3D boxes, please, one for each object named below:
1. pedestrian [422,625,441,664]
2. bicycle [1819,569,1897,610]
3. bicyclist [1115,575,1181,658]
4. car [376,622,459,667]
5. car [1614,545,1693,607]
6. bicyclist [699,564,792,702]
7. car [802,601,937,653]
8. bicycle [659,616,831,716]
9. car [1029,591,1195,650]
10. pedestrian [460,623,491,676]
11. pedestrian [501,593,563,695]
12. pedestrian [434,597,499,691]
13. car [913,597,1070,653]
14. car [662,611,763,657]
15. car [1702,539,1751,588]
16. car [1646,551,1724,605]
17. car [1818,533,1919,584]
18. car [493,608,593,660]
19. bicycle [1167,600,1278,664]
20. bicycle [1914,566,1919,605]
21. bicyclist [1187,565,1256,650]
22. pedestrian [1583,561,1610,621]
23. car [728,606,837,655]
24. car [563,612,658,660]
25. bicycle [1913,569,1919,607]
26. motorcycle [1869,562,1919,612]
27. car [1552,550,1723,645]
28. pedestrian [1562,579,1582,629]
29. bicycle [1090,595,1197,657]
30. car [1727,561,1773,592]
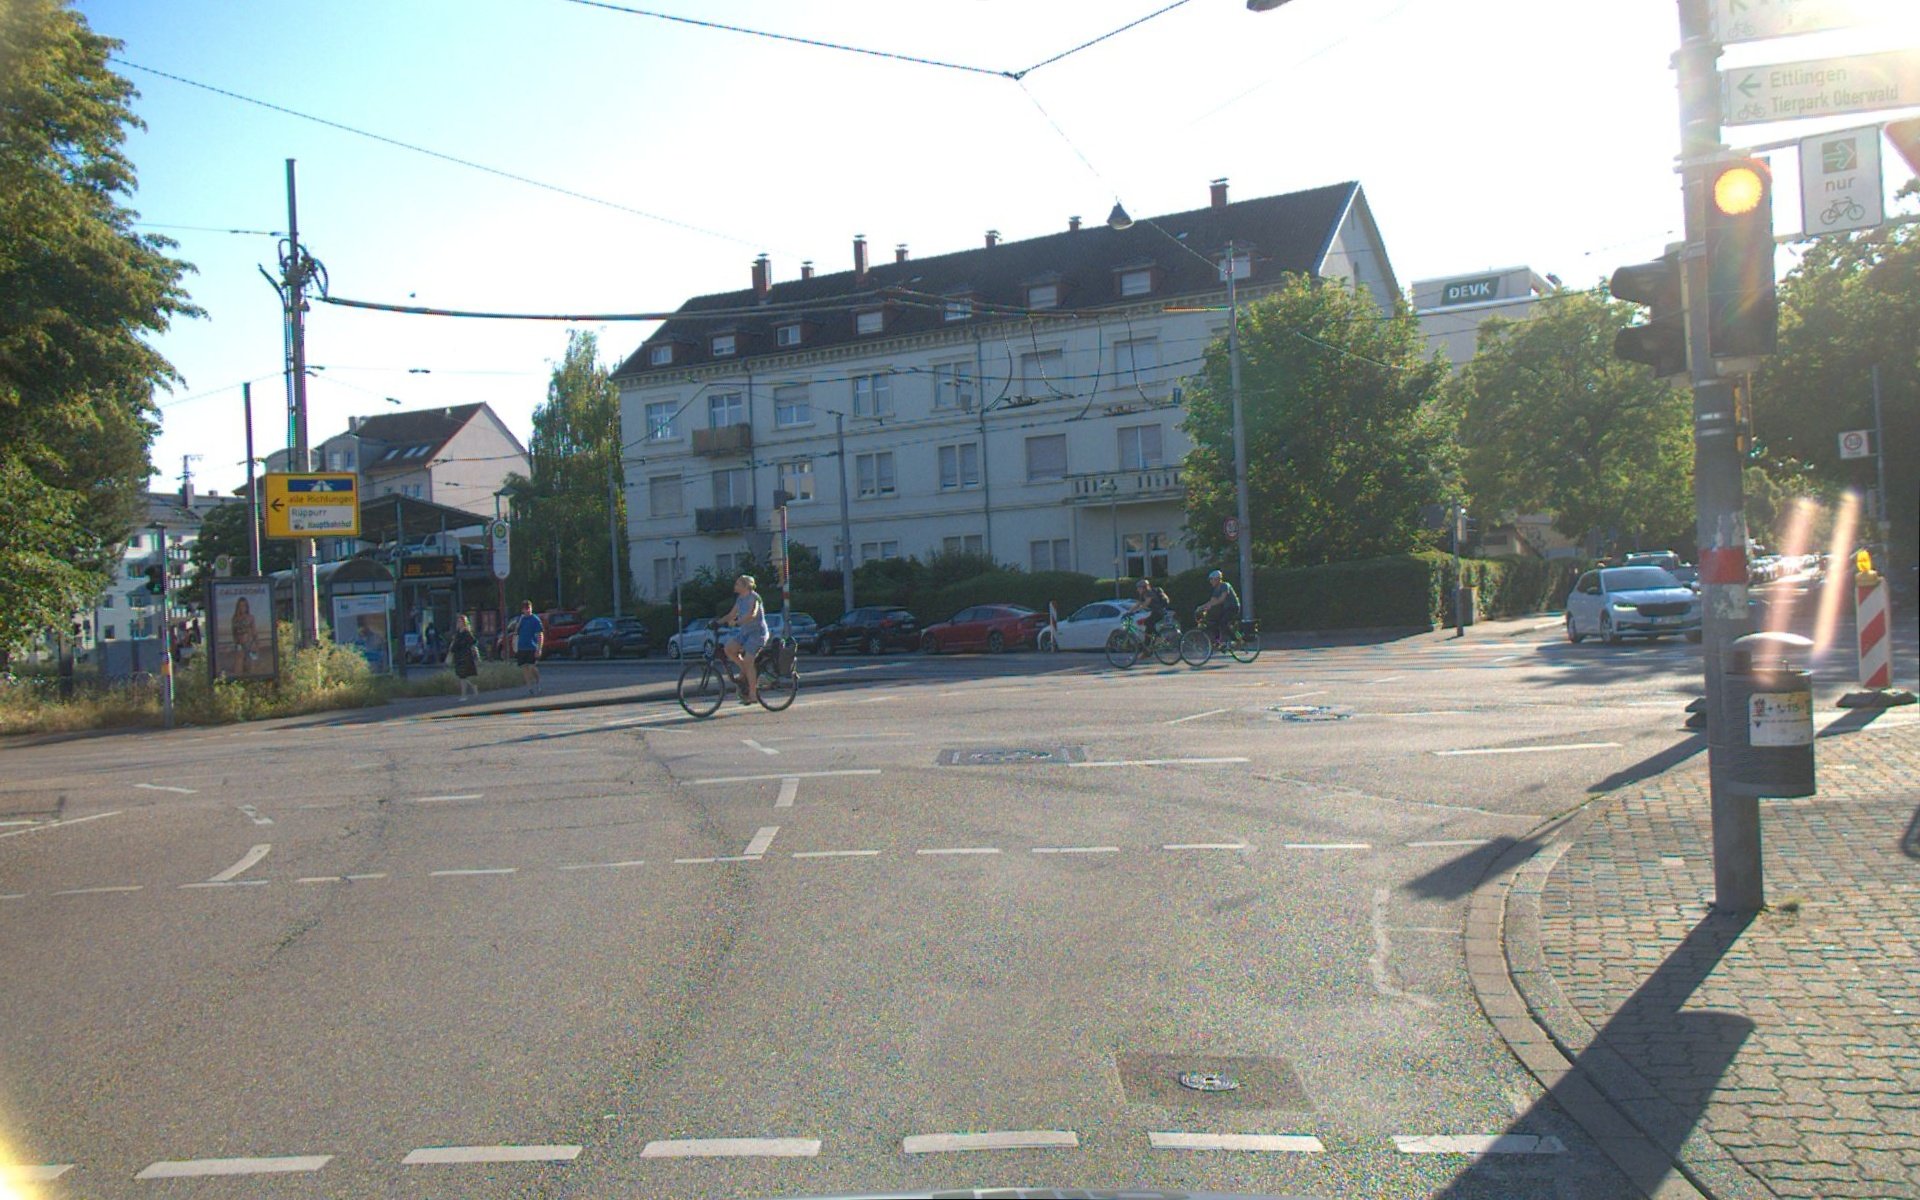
[{"bbox_3d":[-21.120,1.787,66.067,0.560,1.527,0.672,-3,0,-29],"label":"pedestrian"},{"bbox_3d":[22.772,-0.262,41.982,1.690,0.949,0.671,-3,0,29],"label":"bicycle"},{"bbox_3d":[3.666,0.313,32.307,1.021,1.558,0.656,-3,0,-24],"label":"bicyclist"},{"bbox_3d":[-27.193,2.228,82.785,2.039,1.995,5.073,-6,2,-41],"label":"car"},{"bbox_3d":[25.345,-0.871,60.336,2.308,2.049,5.306,-3,0,26],"label":"car"},{"bbox_3d":[-2.666,0.403,20.550,0.847,1.633,0.768,-3,0,-33],"label":"bicyclist"},{"bbox_3d":[-3.033,0.910,54.571,1.970,1.472,4.634,-6,2,-41],"label":"car"},{"bbox_3d":[-2.650,0.796,20.471,1.994,1.087,0.656,-3,0,-33],"label":"bicycle"},{"bbox_3d":[4.197,0.590,46.181,1.916,1.400,4.426,-6,2,-43],"label":"car"},{"bbox_3d":[-19.108,1.936,65.181,0.914,2.048,0.759,-2,0,-37],"label":"pedestrian"},{"bbox_3d":[-8.513,0.868,32.951,0.893,1.958,1.067,-3,0,-2],"label":"pedestrian"},{"bbox_3d":[-9.665,0.847,32.427,0.893,1.777,1.067,-3,0,-2],"label":"pedestrian"},{"bbox_3d":[0.912,0.767,50.124,4.625,1.400,1.974,-3,2,44],"label":"car"},{"bbox_3d":[-9.177,1.271,61.213,1.830,1.472,3.899,-6,2,-41],"label":"car"},{"bbox_3d":[43.109,-2.037,92.946,2.308,2.558,5.306,-3,0,26],"label":"car"},{"bbox_3d":[22.907,-0.718,52.174,1.858,1.591,4.386,-1,1,29],"label":"car"},{"bbox_3d":[40.814,-1.830,73.121,4.990,1.958,2.360,-3,-2,26],"label":"car"},{"bbox_3d":[-18.165,1.517,71.949,2.039,1.995,5.073,-6,2,-41],"label":"car"},{"bbox_3d":[4.963,0.603,31.243,1.983,1.087,0.659,-3,0,-21],"label":"bicycle"},{"bbox_3d":[24.371,-0.399,40.504,1.691,0.949,0.561,-3,0,29],"label":"bicycle"},{"bbox_3d":[4.954,0.142,31.302,1.019,1.558,0.694,-3,0,-21],"label":"bicyclist"},{"bbox_3d":[20.026,-0.285,52.063,0.648,1.871,0.682,-3,0,28],"label":"pedestrian"},{"bbox_3d":[-6.213,1.083,57.767,1.971,1.472,3.663,-6,2,-41],"label":"car"},{"bbox_3d":[-14.194,1.475,66.970,1.830,1.696,4.304,-6,2,-41],"label":"car"},{"bbox_3d":[24.731,-0.344,41.183,1.691,0.949,0.561,-3,0,29],"label":"bicycle"},{"bbox_3d":[22.933,-0.329,39.593,1.912,1.128,0.837,-3,0,24],"label":"motorcycle"},{"bbox_3d":[12.766,-0.053,31.441,1.851,1.511,4.003,-5,0,6],"label":"car"},{"bbox_3d":[21.973,0.138,59.359,0.567,1.761,0.608,-3,0,23],"label":"pedestrian"},{"bbox_3d":[3.584,0.493,32.206,1.987,1.087,0.658,-3,0,-25],"label":"bicycle"},{"bbox_3d":[51.019,-1.539,106.766,2.310,1.826,5.301,-3,0,29],"label":"car"}]
